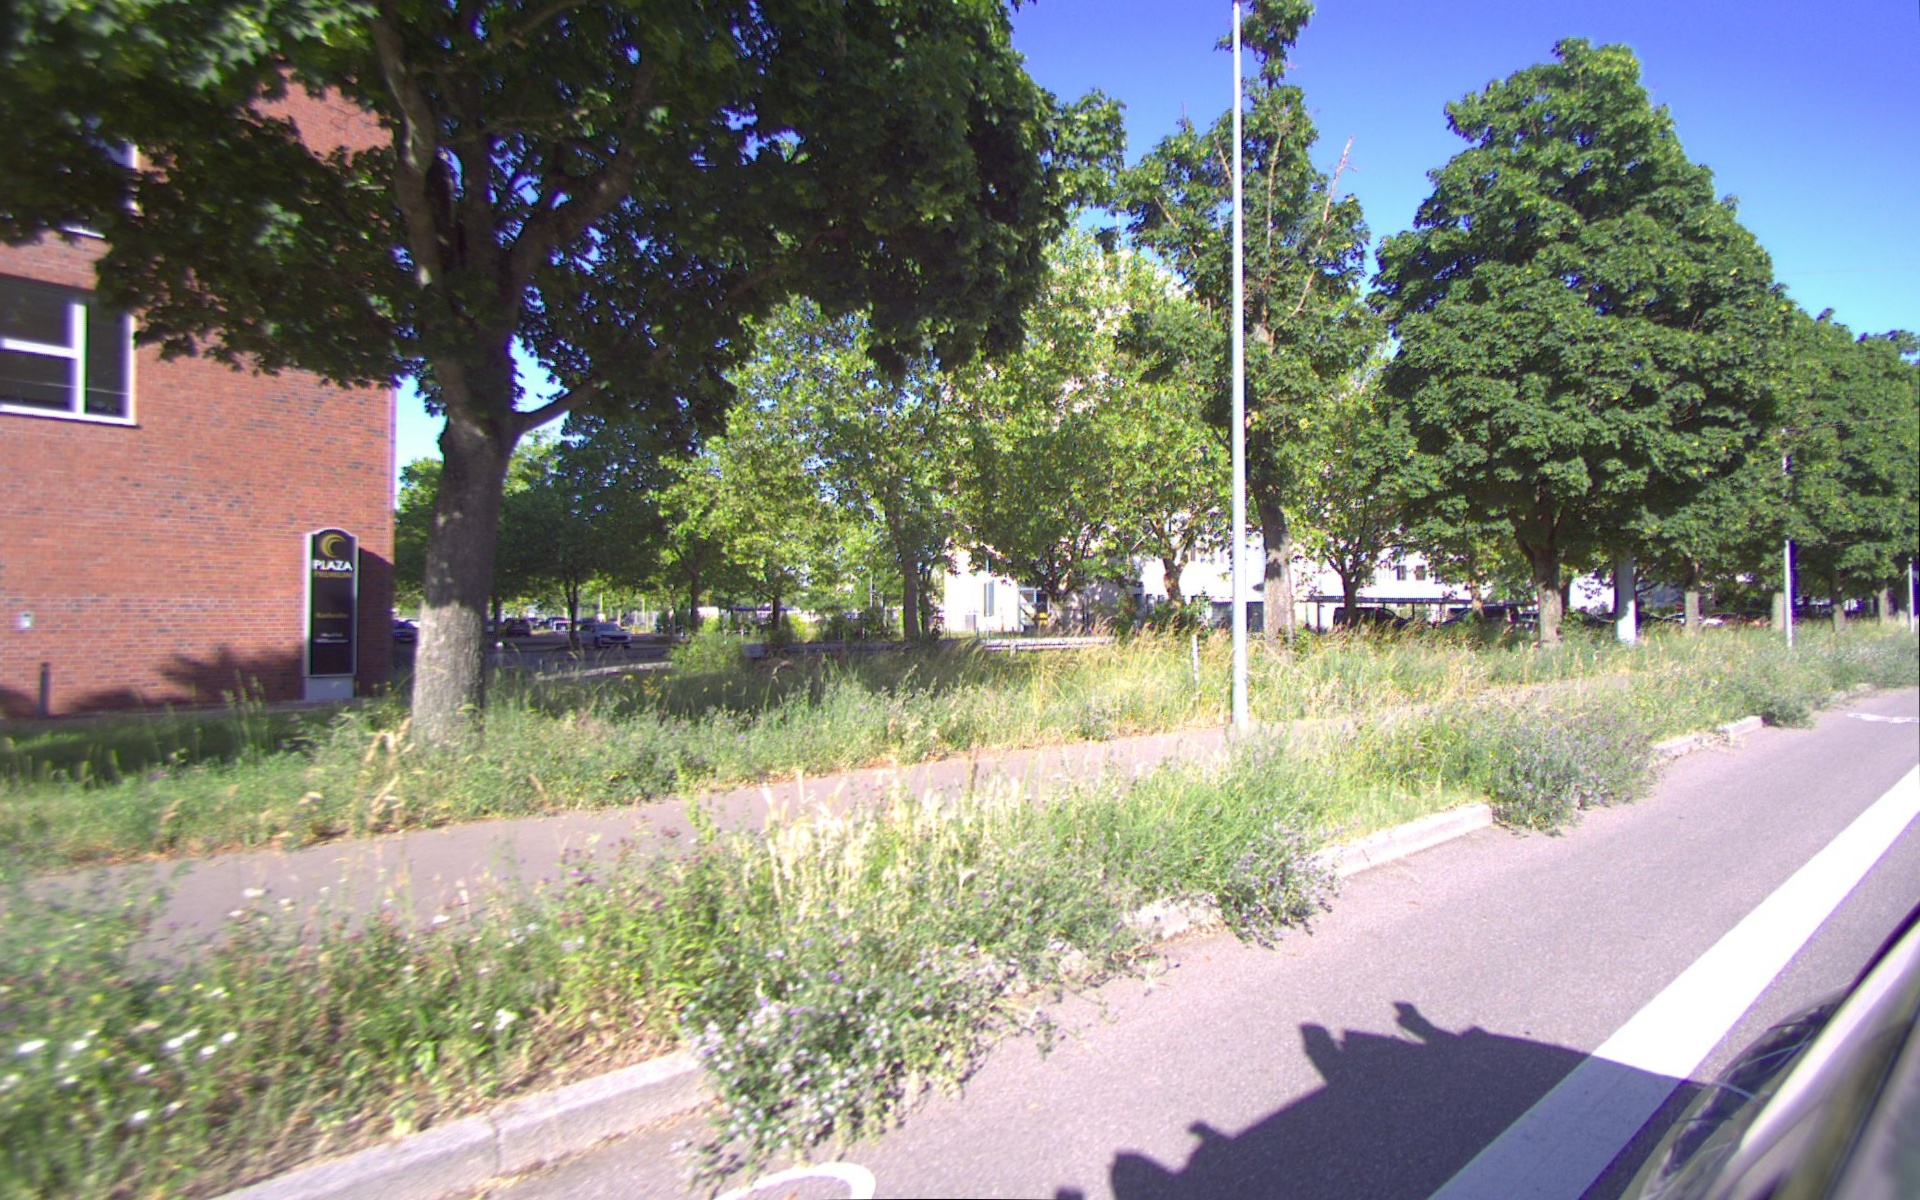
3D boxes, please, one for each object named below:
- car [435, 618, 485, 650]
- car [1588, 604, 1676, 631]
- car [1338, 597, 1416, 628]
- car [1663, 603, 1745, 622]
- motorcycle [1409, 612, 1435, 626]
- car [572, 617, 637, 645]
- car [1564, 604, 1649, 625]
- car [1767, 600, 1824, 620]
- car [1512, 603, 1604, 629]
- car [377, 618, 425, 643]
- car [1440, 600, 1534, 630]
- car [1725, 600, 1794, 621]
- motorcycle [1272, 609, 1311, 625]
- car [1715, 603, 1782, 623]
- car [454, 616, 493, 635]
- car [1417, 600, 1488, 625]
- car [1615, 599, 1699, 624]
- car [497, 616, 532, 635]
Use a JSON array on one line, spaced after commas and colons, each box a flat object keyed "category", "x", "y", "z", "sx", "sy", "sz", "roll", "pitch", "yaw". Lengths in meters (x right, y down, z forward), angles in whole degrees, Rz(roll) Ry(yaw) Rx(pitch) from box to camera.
[{"category": "car", "x": -25.028, "y": 1.656, "z": 50.610, "sx": 1.837, "sy": 1.511, "sz": 4.001, "roll": 0, "pitch": -1, "yaw": -33}, {"category": "car", "x": 39.342, "y": 1.020, "z": 59.315, "sx": 1.677, "sy": 1.545, "sz": 4.000, "roll": 0, "pitch": -1, "yaw": -41}, {"category": "car", "x": 28.306, "y": 0.845, "z": 68.774, "sx": 1.921, "sy": 2.039, "sz": 4.598, "roll": 0, "pitch": -1, "yaw": -36}, {"category": "car", "x": 55.671, "y": 0.933, "z": 75.831, "sx": 1.775, "sy": 1.287, "sz": 4.706, "roll": 2, "pitch": -1, "yaw": -40}, {"category": "motorcycle", "x": 33.783, "y": 1.387, "z": 74.005, "sx": 0.528, "sy": 0.983, "sz": 1.652, "roll": 1, "pitch": -1, "yaw": -38}, {"category": "car", "x": -19.316, "y": 1.663, "z": 54.905, "sx": 1.800, "sy": 1.417, "sz": 4.517, "roll": 0, "pitch": -2, "yaw": -41}, {"category": "car", "x": 42.614, "y": 0.936, "z": 66.776, "sx": 1.902, "sy": 1.341, "sz": 4.308, "roll": 2, "pitch": -1, "yaw": -33}, {"category": "car", "x": 73.911, "y": 0.899, "z": 89.587, "sx": 1.691, "sy": 1.660, "sz": 3.985, "roll": -1, "pitch": -1, "yaw": 1}, {"category": "car", "x": 34.467, "y": 0.946, "z": 58.428, "sx": 1.790, "sy": 1.450, "sz": 4.178, "roll": 0, "pitch": -1, "yaw": -35}, {"category": "car", "x": -35.180, "y": 1.924, "z": 63.598, "sx": 1.800, "sy": 1.481, "sz": 4.223, "roll": 0, "pitch": -2, "yaw": -41}, {"category": "car", "x": 27.761, "y": 0.786, "z": 53.411, "sx": 1.706, "sy": 1.524, "sz": 4.040, "roll": 0, "pitch": -1, "yaw": -37}, {"category": "car", "x": 66.097, "y": 0.846, "z": 83.697, "sx": 4.333, "sy": 1.722, "sz": 1.739, "roll": 0, "pitch": 0, "yaw": 43}, {"category": "motorcycle", "x": 27.513, "y": 1.414, "z": 84.027, "sx": 0.999, "sy": 1.338, "sz": 3.036, "roll": 1, "pitch": -1, "yaw": -44}, {"category": "car", "x": 64.317, "y": 1.049, "z": 82.553, "sx": 4.229, "sy": 1.555, "sz": 1.739, "roll": 0, "pitch": 0, "yaw": 43}, {"category": "car", "x": -39.620, "y": 2.084, "z": 82.345, "sx": 1.800, "sy": 1.481, "sz": 4.223, "roll": 0, "pitch": -2, "yaw": -41}, {"category": "car", "x": 39.756, "y": 0.978, "z": 81.796, "sx": 1.938, "sy": 1.975, "sz": 4.760, "roll": 1, "pitch": -1, "yaw": -38}, {"category": "car", "x": 47.196, "y": 0.761, "z": 68.620, "sx": 1.851, "sy": 1.617, "sz": 4.398, "roll": 0, "pitch": -1, "yaw": -41}, {"category": "car", "x": -37.331, "y": 2.101, "z": 84.720, "sx": 1.705, "sy": 1.511, "sz": 3.995, "roll": 0, "pitch": -1, "yaw": -38}]
